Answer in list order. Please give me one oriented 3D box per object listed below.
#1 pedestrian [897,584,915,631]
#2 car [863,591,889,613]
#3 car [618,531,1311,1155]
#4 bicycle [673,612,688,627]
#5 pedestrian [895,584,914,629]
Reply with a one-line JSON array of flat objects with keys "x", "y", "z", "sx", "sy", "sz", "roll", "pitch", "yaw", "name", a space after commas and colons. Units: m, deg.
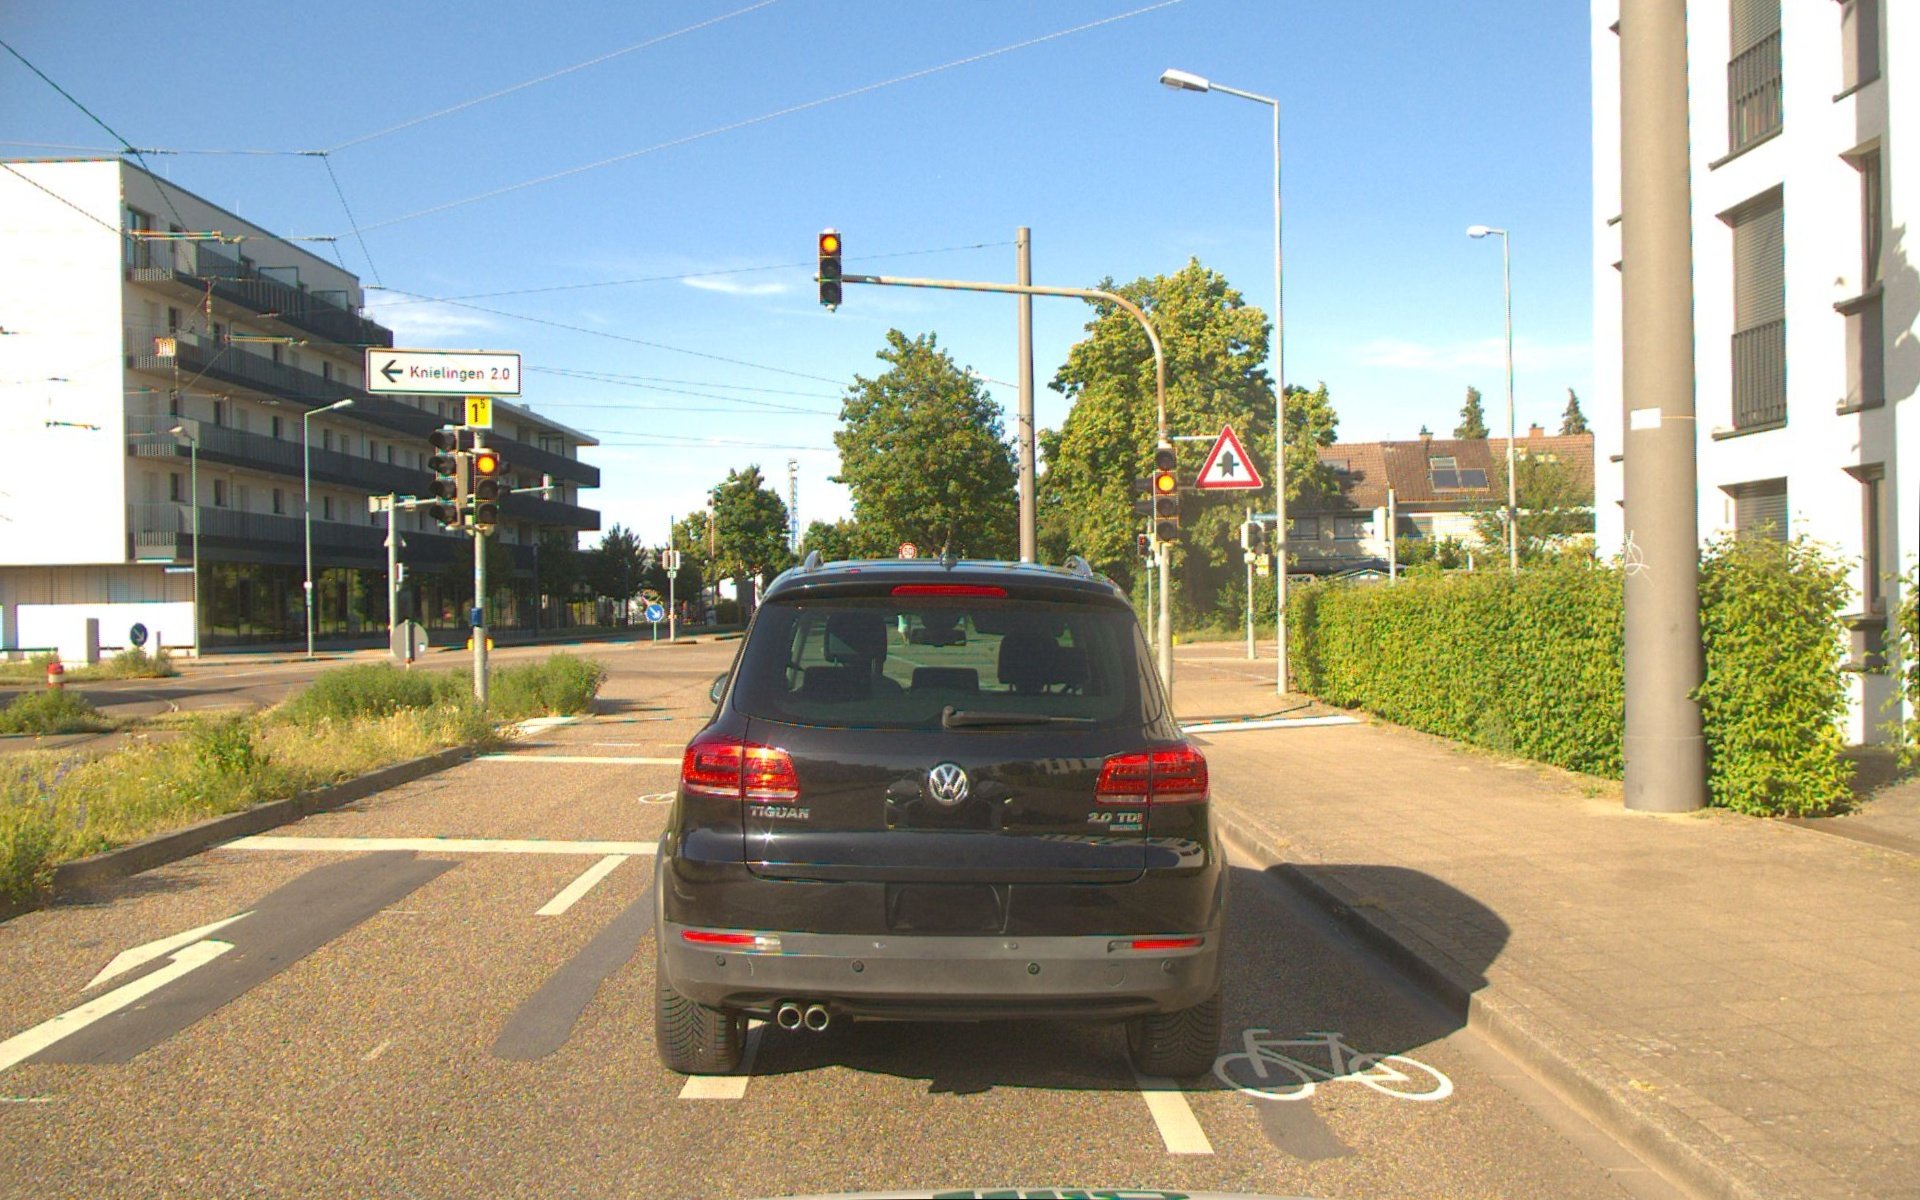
[{"x": -1.950, "y": 0.275, "z": 59.594, "sx": 0.590, "sy": 1.668, "sz": 0.529, "roll": 0, "pitch": 0, "yaw": 4, "name": "pedestrian"}, {"x": -5.641, "y": 0.120, "z": 111.229, "sx": 1.716, "sy": 1.411, "sz": 3.998, "roll": 0, "pitch": 0, "yaw": -2, "name": "car"}, {"x": -0.050, "y": 0.651, "z": 6.474, "sx": 1.867, "sy": 1.671, "sz": 3.998, "roll": 0, "pitch": 0, "yaw": -2, "name": "car"}, {"x": -16.955, "y": 1.190, "z": 100.323, "sx": 0.485, "sy": 0.863, "sz": 2.079, "roll": 0, "pitch": 0, "yaw": 3, "name": "bicycle"}, {"x": -1.983, "y": 0.235, "z": 59.013, "sx": 0.590, "sy": 1.592, "sz": 0.529, "roll": 0, "pitch": 0, "yaw": 4, "name": "pedestrian"}]
